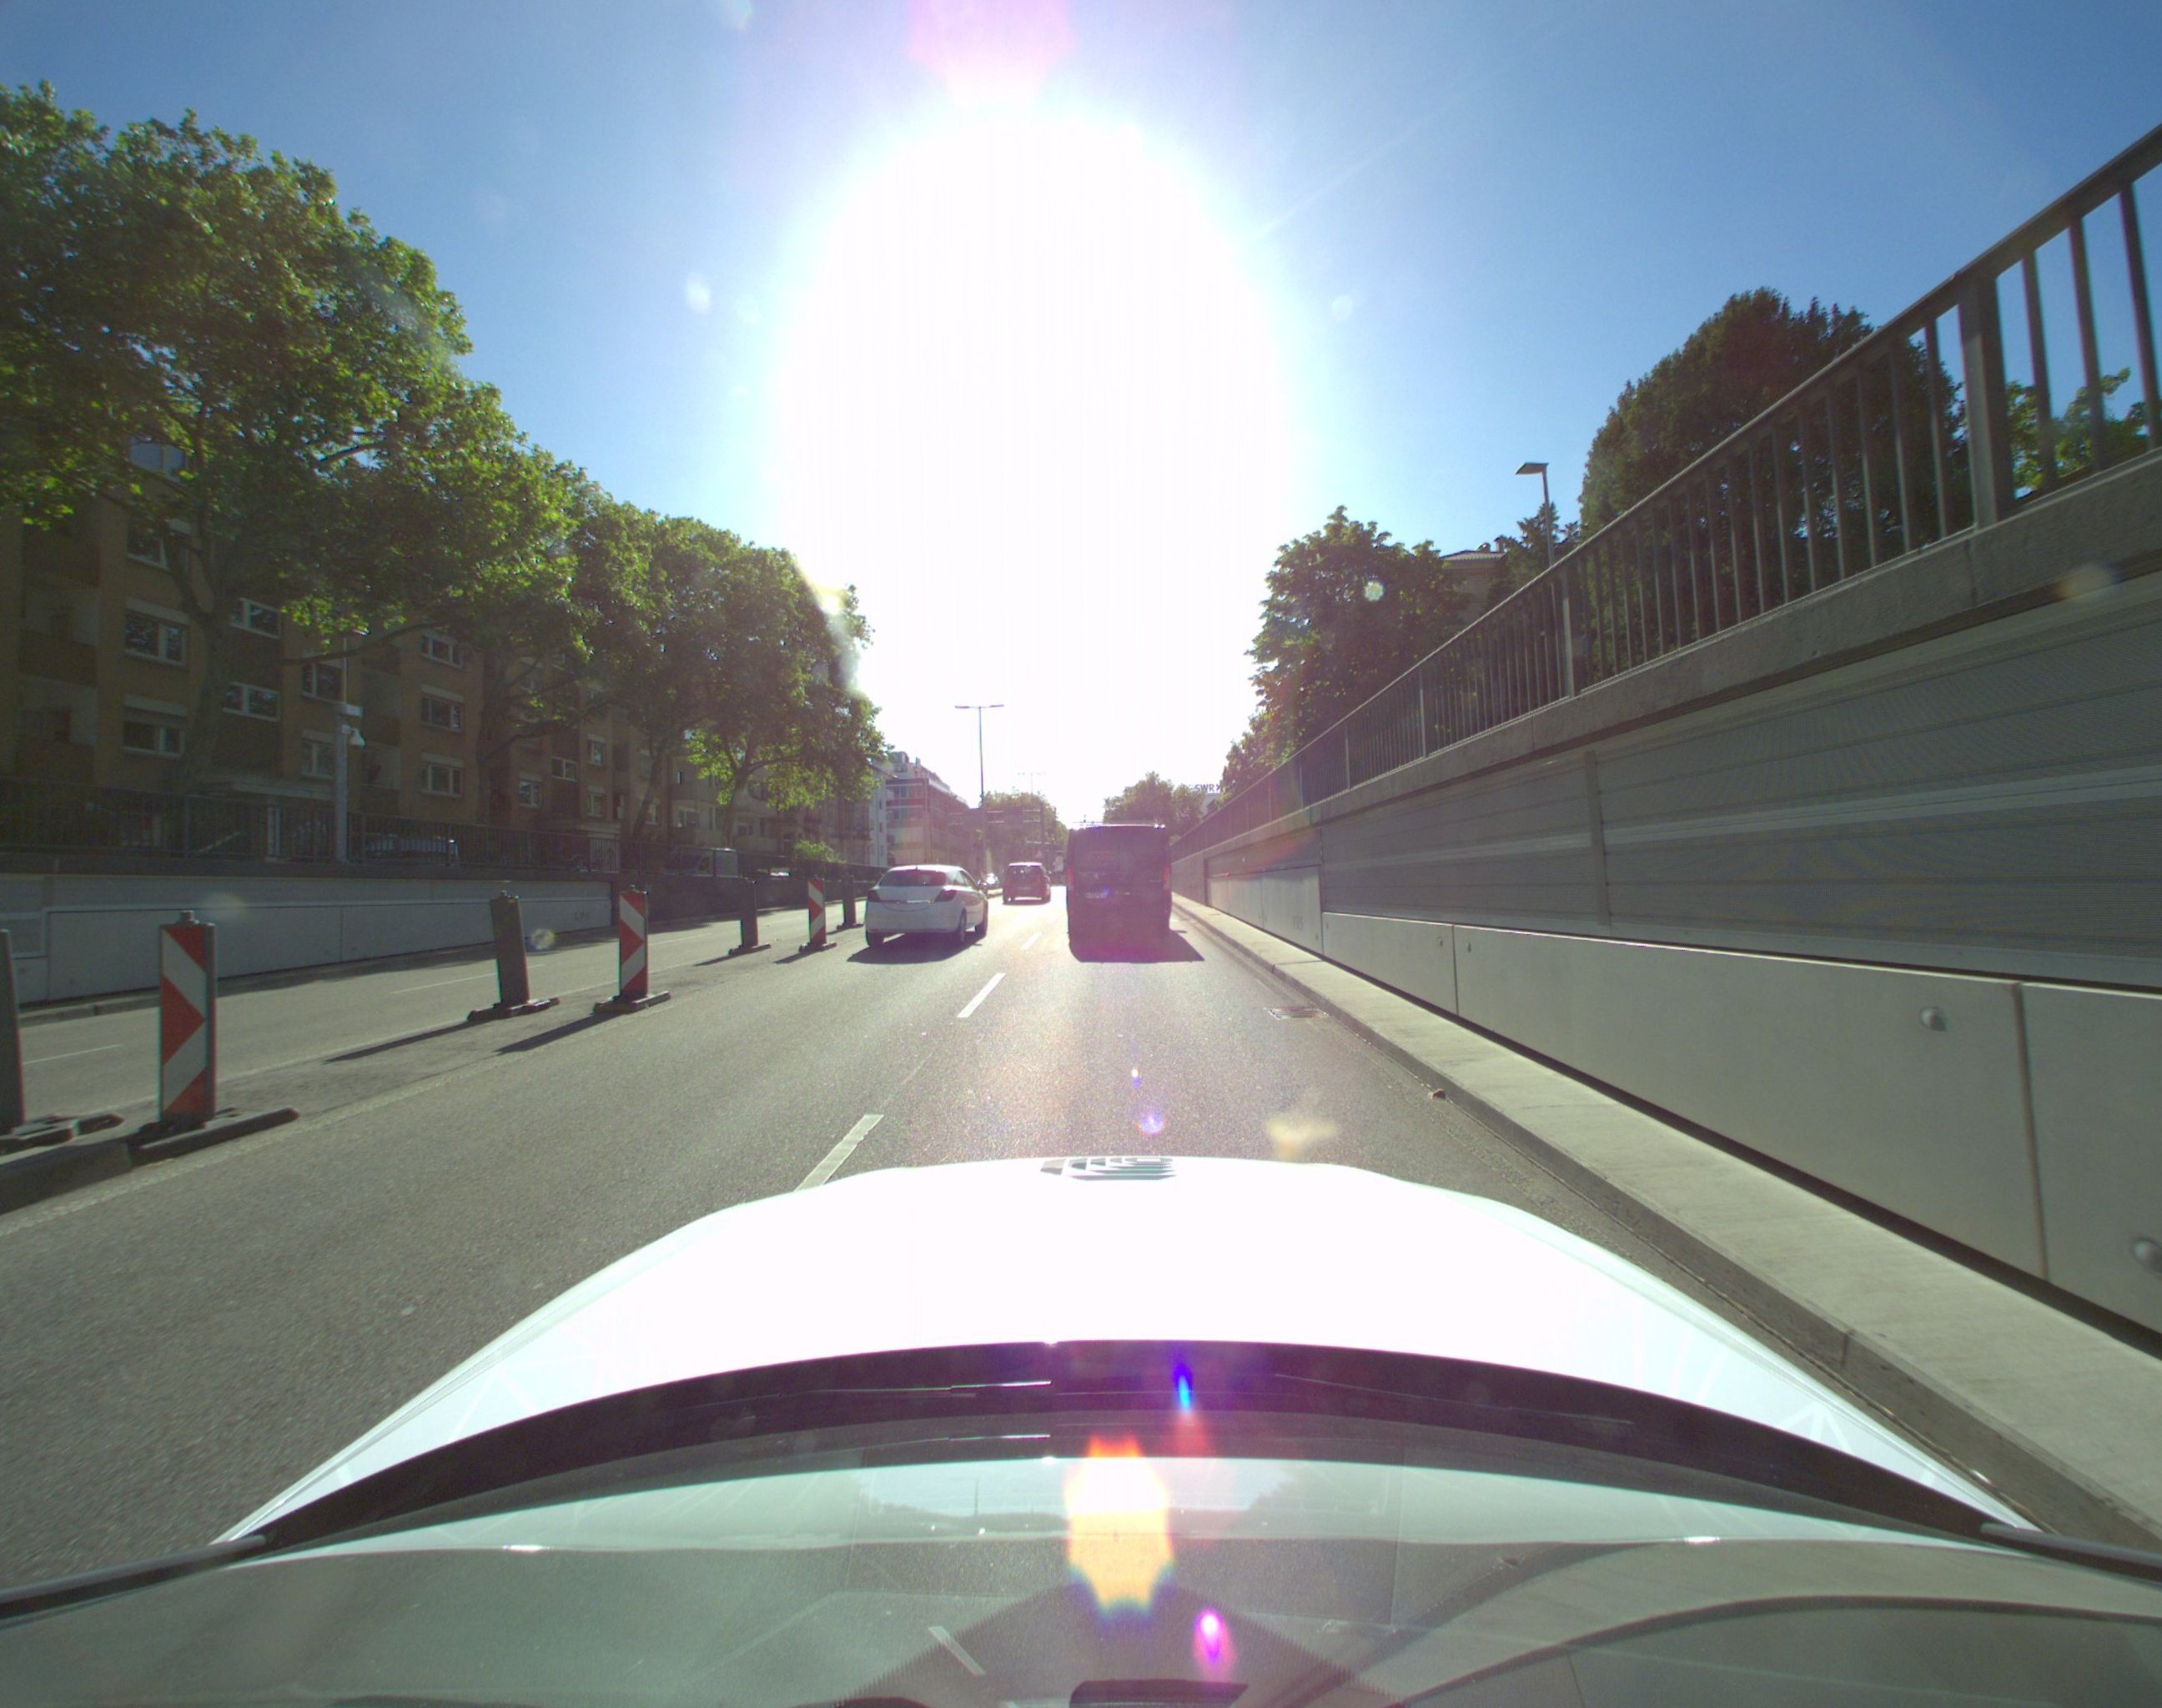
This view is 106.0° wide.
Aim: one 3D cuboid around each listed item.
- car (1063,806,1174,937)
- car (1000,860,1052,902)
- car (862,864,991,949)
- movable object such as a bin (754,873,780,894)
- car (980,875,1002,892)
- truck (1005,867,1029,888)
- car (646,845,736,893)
[{"bbox_3d":[0.772,0.383,17.263,2.022,2.403,3.973,-1,-2,2],"label":"car"},{"bbox_3d":[-2.049,0.990,31.140,1.683,1.483,3.319,-1,-1,1],"label":"car"},{"bbox_3d":[-2.794,0.897,15.529,1.613,1.403,3.853,-1,-1,1],"label":"car"},{"bbox_3d":[-21.465,2.033,55.691,1.274,1.402,1.302,-1,-2,2],"label":"movable object such as a bin"},{"bbox_3d":[-8.563,2.784,77.734,1.533,1.465,3.718,-5,-1,1],"label":"car"},{"bbox_3d":[-8.240,3.063,105.604,2.220,2.528,6.132,-3,-2,3],"label":"truck"},{"bbox_3d":[-20.590,0.841,43.309,1.985,2.360,5.422,-1,-2,3],"label":"car"}]
